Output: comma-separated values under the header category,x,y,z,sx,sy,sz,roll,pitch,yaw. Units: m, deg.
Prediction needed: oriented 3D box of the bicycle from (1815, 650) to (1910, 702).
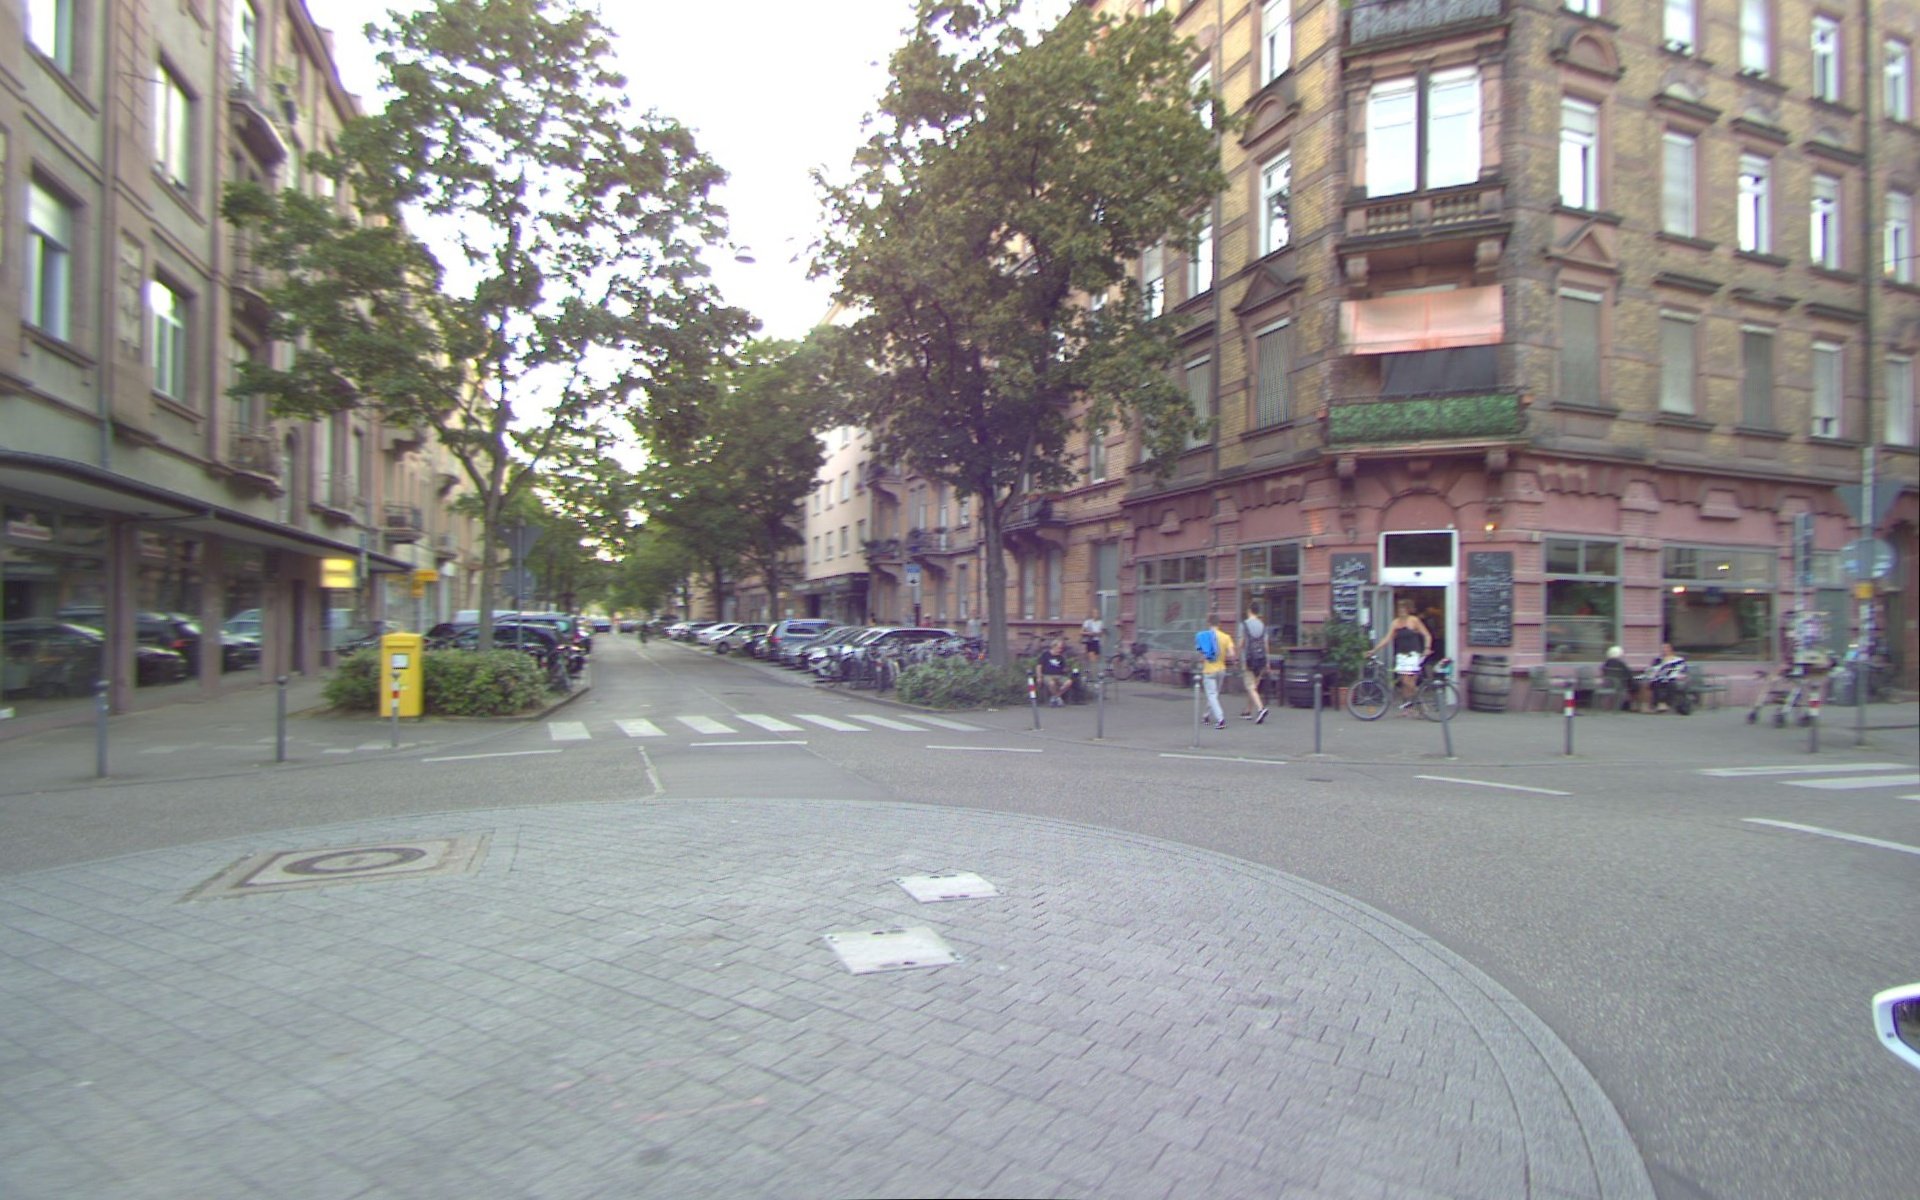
category,x,y,z,sx,sy,sz,roll,pitch,yaw
bicycle,18.860,1.582,20.981,2.445,1.050,0.386,2,0,-21

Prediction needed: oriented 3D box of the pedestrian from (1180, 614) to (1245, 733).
category,x,y,z,sx,sy,sz,roll,pitch,yaw
pedestrian,3.878,1.111,15.492,0.605,1.759,0.904,1,0,-11

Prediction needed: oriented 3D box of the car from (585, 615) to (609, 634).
category,x,y,z,sx,sy,sz,roll,pitch,yaw
car,-40.239,2.695,111.360,1.974,2.040,3.972,1,0,-27

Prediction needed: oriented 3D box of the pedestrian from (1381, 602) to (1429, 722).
category,x,y,z,sx,sy,sz,roll,pitch,yaw
pedestrian,7.113,0.980,16.054,0.569,1.865,0.499,1,0,-44

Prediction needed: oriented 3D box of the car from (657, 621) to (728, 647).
category,x,y,z,sx,sy,sz,roll,pitch,yaw
car,-18.302,2.347,68.653,4.432,1.637,1.989,2,0,-23

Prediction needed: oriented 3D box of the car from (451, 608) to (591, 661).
category,x,y,z,sx,sy,sz,roll,pitch,yaw
car,-17.326,1.383,39.897,4.934,1.977,1.989,2,0,-23

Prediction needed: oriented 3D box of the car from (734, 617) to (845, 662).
category,x,y,z,sx,sy,sz,roll,pitch,yaw
car,-7.388,1.721,43.522,4.432,1.822,1.989,2,0,-23

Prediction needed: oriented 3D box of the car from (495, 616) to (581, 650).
category,x,y,z,sx,sy,sz,roll,pitch,yaw
car,-26.757,2.093,63.866,4.934,1.977,1.989,2,0,-23

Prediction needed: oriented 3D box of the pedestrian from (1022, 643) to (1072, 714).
category,x,y,z,sx,sy,sz,roll,pitch,yaw
pedestrian,1.648,1.480,19.155,0.658,1.279,0.752,1,0,-22

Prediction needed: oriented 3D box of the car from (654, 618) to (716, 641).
category,x,y,z,sx,sy,sz,roll,pitch,yaw
car,-21.467,2.294,78.289,4.432,1.637,1.989,2,0,-23

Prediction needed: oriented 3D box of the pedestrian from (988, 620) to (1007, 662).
category,x,y,z,sx,sy,sz,roll,pitch,yaw
pedestrian,1.167,1.265,31.401,0.563,1.279,0.457,1,0,3

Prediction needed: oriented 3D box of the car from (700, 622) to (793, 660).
category,x,y,z,sx,sy,sz,roll,pitch,yaw
car,-11.050,2.117,52.003,4.432,1.822,1.989,2,0,-23

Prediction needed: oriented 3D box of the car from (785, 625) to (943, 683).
category,x,y,z,sx,sy,sz,roll,pitch,yaw
car,-2.946,1.641,30.756,4.432,1.600,1.989,2,0,-23

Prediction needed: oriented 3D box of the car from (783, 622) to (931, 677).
category,x,y,z,sx,sy,sz,roll,pitch,yaw
car,-3.363,1.616,32.899,4.432,1.641,1.989,2,0,-23

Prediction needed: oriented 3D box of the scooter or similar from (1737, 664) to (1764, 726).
category,x,y,z,sx,sy,sz,roll,pitch,yaw
scooter or similar,13.103,1.562,16.638,0.231,0.941,1.259,2,0,43

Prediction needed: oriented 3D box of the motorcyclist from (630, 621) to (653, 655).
category,x,y,z,sx,sy,sz,roll,pitch,yaw
motorcyclist,-19.458,2.333,61.397,1.152,2.040,1.033,1,0,-27

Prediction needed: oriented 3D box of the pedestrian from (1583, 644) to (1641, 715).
category,x,y,z,sx,sy,sz,roll,pitch,yaw
pedestrian,11.468,1.386,17.672,0.532,1.206,0.646,1,0,-25

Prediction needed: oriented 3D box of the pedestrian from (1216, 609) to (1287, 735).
category,x,y,z,sx,sy,sz,roll,pitch,yaw
pedestrian,4.628,1.113,15.947,0.892,1.910,0.613,2,0,38

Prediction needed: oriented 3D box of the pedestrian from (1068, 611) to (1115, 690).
category,x,y,z,sx,sy,sz,roll,pitch,yaw
pedestrian,2.985,1.134,22.811,0.658,1.748,0.917,1,0,-22

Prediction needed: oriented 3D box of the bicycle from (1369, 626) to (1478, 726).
category,x,y,z,sx,sy,sz,roll,pitch,yaw
bicycle,7.150,1.154,15.470,1.879,1.462,0.422,1,0,-26

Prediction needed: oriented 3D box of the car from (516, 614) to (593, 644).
category,x,y,z,sx,sy,sz,roll,pitch,yaw
car,-28.539,2.069,70.801,4.934,1.977,1.989,2,0,-23

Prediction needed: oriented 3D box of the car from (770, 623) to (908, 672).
category,x,y,z,sx,sy,sz,roll,pitch,yaw
car,-4.255,1.666,35.260,4.432,1.600,1.989,2,0,-23

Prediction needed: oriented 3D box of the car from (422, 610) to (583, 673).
category,x,y,z,sx,sy,sz,roll,pitch,yaw
car,-14.304,1.296,31.653,4.432,1.855,1.989,2,0,-23

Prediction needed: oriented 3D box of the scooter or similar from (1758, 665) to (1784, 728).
category,x,y,z,sx,sy,sz,roll,pitch,yaw
scooter or similar,13.291,1.566,16.459,0.231,0.941,1.259,2,0,43

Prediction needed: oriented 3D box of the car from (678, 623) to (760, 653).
category,x,y,z,sx,sy,sz,roll,pitch,yaw
car,-14.091,2.216,58.713,4.432,1.637,1.989,2,0,-23

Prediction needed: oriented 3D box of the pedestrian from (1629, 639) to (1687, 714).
category,x,y,z,sx,sy,sz,roll,pitch,yaw
pedestrian,12.562,1.367,18.083,0.532,1.303,0.646,1,0,-25

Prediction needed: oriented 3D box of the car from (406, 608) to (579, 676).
category,x,y,z,sx,sy,sz,roll,pitch,yaw
car,-13.591,1.227,29.505,4.432,1.855,1.989,2,0,-23

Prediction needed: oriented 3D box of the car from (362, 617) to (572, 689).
category,x,y,z,sx,sy,sz,roll,pitch,yaw
car,-11.948,1.288,24.690,4.432,1.600,1.989,2,0,-23

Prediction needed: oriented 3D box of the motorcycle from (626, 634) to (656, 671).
category,x,y,z,sx,sy,sz,roll,pitch,yaw
motorcycle,-19.612,3.181,61.686,1.151,2.040,3.973,1,0,-26

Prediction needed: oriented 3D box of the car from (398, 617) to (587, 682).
category,x,y,z,sx,sy,sz,roll,pitch,yaw
car,-12.505,1.322,27.170,4.432,1.600,1.989,2,0,-23

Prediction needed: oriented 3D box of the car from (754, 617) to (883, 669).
category,x,y,z,sx,sy,sz,roll,pitch,yaw
car,-5.324,1.615,37.695,4.432,1.822,1.989,2,0,-23

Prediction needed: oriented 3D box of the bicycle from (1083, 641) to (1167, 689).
category,x,y,z,sx,sy,sz,roll,pitch,yaw
bicycle,4.001,1.567,24.634,0.616,0.971,2.890,1,0,-22

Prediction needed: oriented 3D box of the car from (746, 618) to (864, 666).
category,x,y,z,sx,sy,sz,roll,pitch,yaw
car,-6.323,1.693,40.951,4.432,1.822,1.989,2,0,-23

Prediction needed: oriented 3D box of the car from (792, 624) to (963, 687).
category,x,y,z,sx,sy,sz,roll,pitch,yaw
car,-2.341,1.552,28.457,4.432,1.600,1.989,2,0,-23
